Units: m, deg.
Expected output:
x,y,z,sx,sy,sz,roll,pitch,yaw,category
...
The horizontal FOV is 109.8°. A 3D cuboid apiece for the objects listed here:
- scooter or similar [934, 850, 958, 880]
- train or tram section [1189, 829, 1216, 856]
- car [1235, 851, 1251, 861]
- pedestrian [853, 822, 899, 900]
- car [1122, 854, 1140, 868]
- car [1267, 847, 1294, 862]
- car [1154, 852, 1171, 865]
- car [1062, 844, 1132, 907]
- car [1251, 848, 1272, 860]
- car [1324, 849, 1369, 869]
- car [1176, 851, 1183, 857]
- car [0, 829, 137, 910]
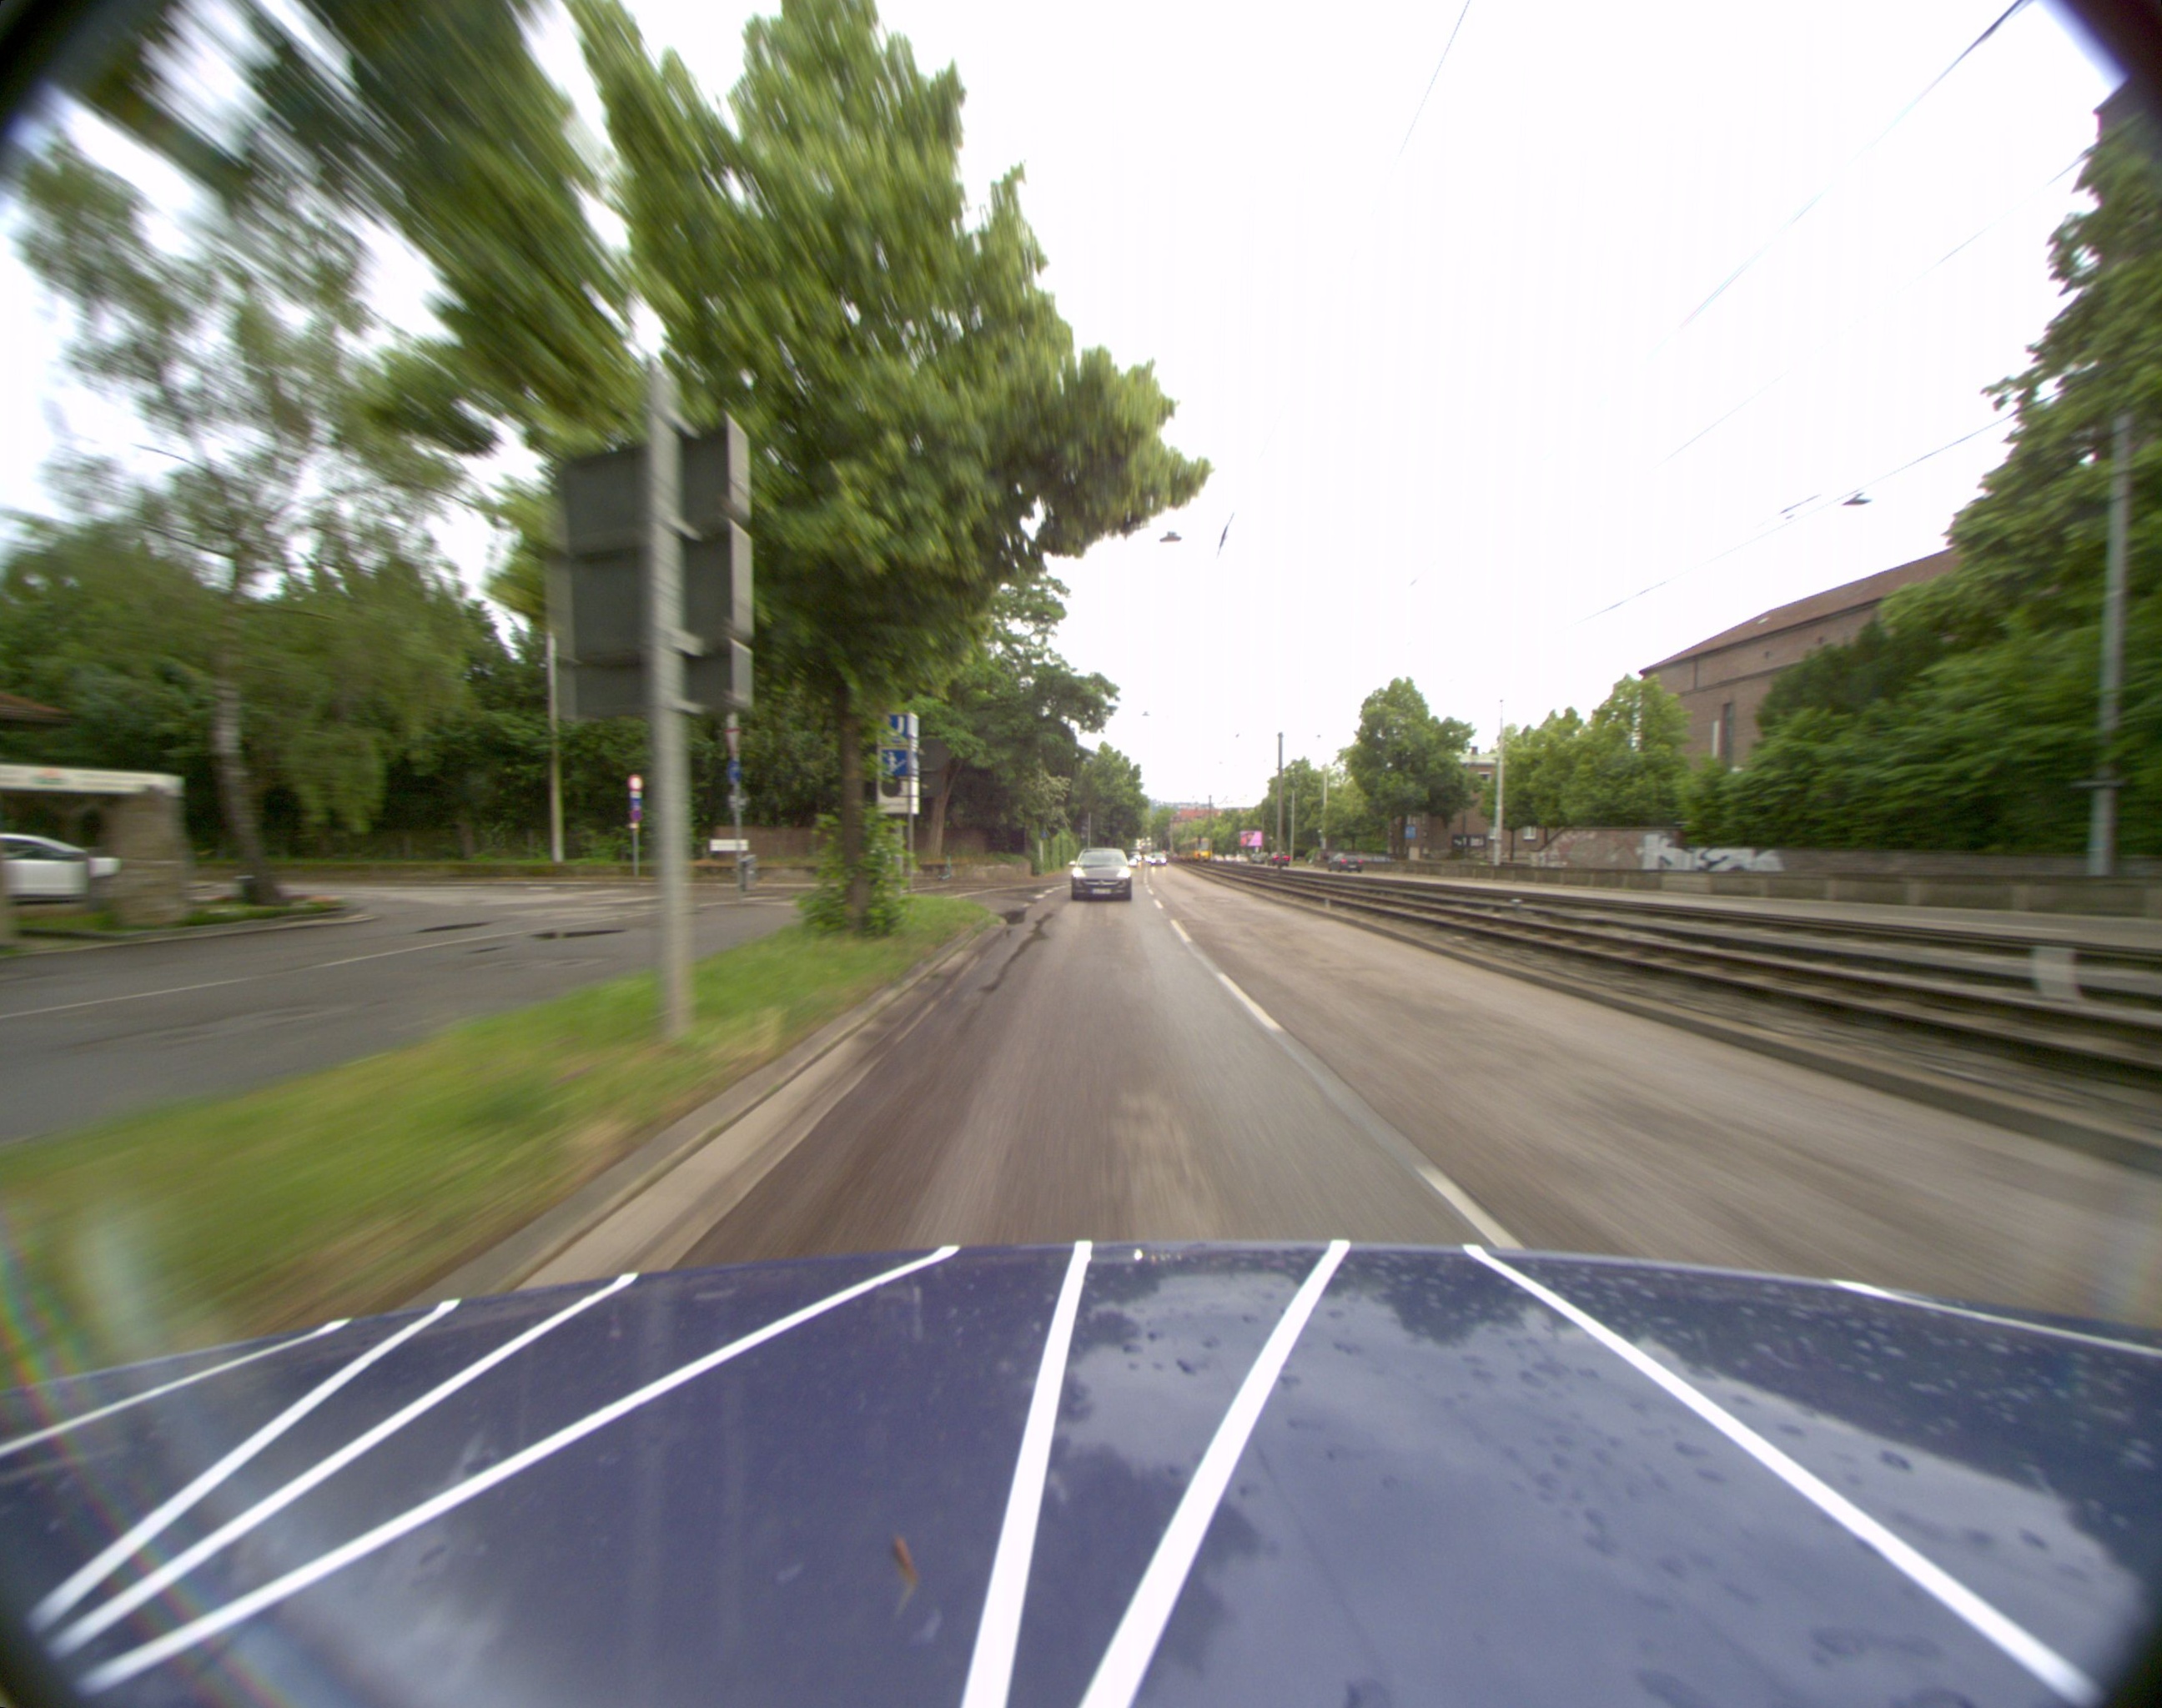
x,y,z,sx,sy,sz,roll,pitch,yaw,category
-5.743,0.440,32.462,0.515,1.224,1.315,4,2,10,scooter or similar
19.368,-1.699,121.668,2.834,3.953,17.882,0,0,4,train or tram section
25.686,0.370,120.745,1.751,1.459,3.986,3,0,3,car
-4.929,0.160,18.315,0.856,1.843,0.737,1,1,5,pedestrian
5.291,0.713,81.007,1.769,1.502,4.341,0,0,1,car
22.836,0.022,87.072,1.998,1.634,4.525,2,0,3,car
9.175,0.481,85.238,1.768,1.502,4.343,0,0,7,car
0.546,0.543,21.507,1.745,1.544,4.495,-2,0,4,car
24.618,0.005,103.808,1.998,1.634,4.412,2,0,3,car
20.332,0.357,58.336,1.970,1.433,4.322,1,1,1,car
26.427,-0.062,203.710,1.691,1.628,4.342,0,0,4,car
-22.152,0.281,15.242,1.828,1.569,3.770,2,0,30,car
